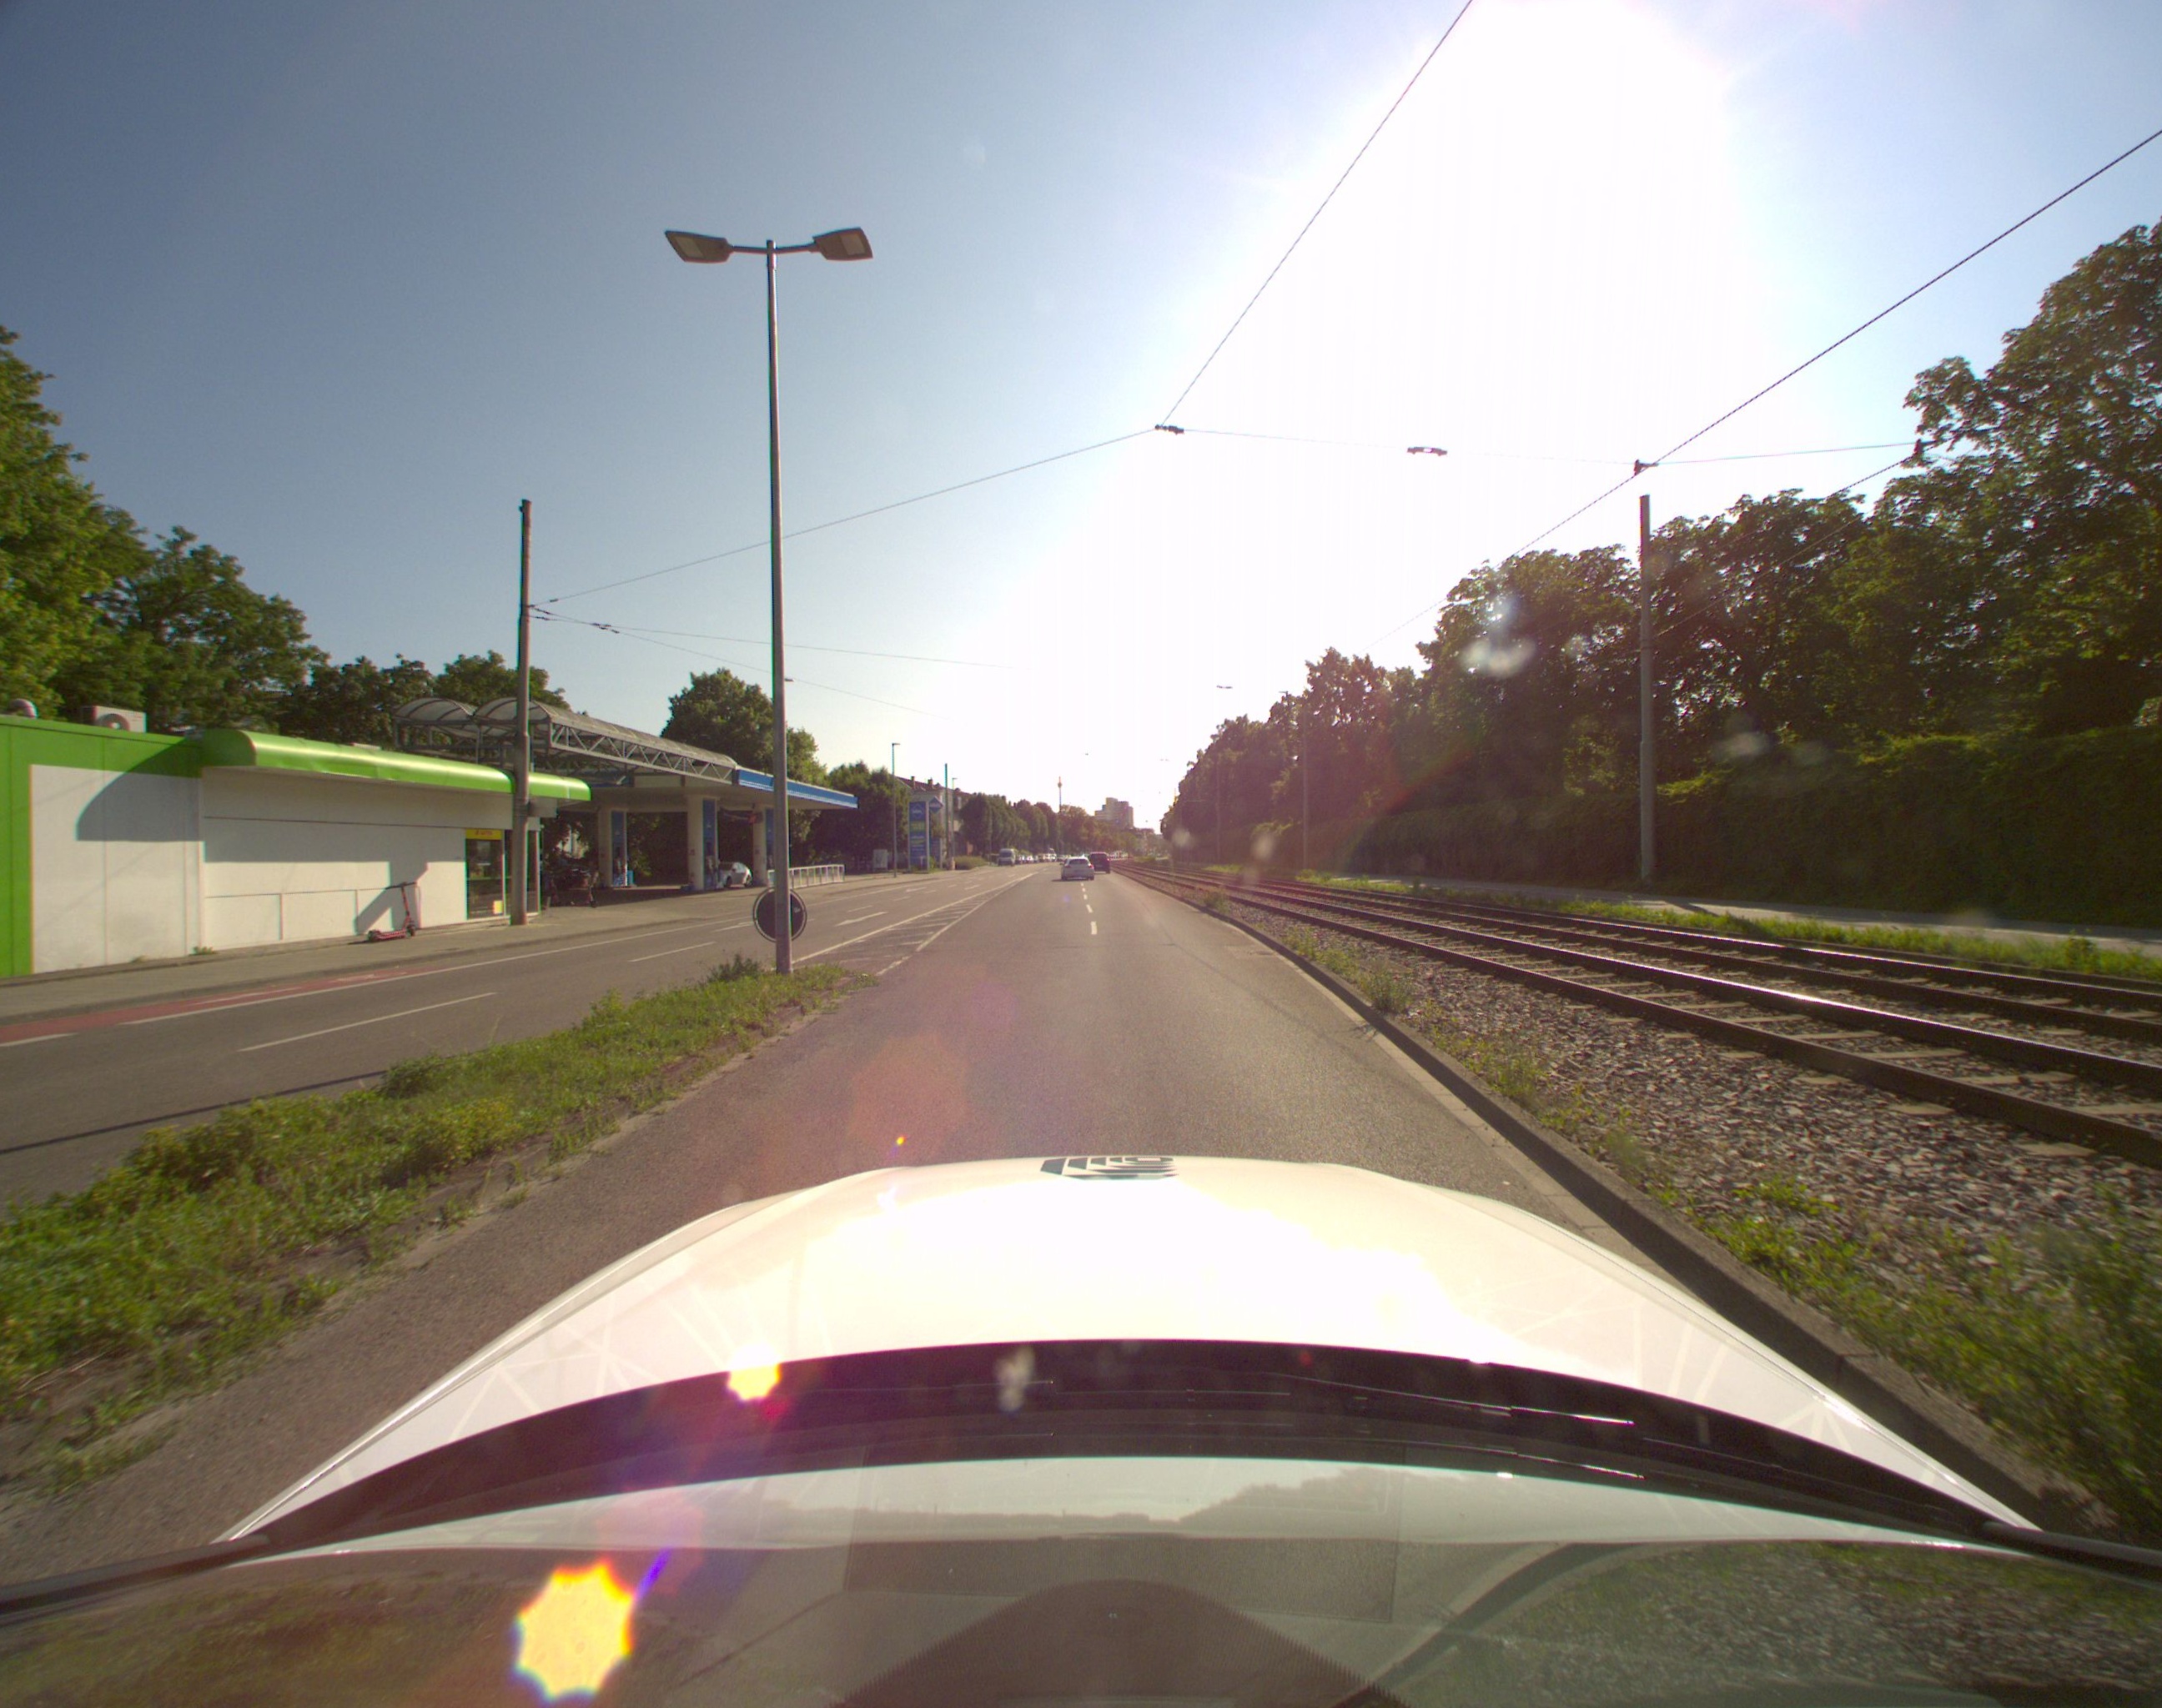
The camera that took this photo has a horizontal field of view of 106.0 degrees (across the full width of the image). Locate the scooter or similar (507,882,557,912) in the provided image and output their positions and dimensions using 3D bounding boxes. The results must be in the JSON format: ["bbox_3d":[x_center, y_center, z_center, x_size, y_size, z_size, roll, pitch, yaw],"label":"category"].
[{"bbox_3d":[-19.069,1.497,28.296,1.335,0.985,0.499,-1,0,-1],"label":"scooter or similar"}]

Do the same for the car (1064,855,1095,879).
[{"bbox_3d":[-0.111,0.745,48.425,1.775,1.356,3.600,1,0,-1],"label":"car"}]

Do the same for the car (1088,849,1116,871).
[{"bbox_3d":[1.579,0.462,62.575,1.721,1.593,3.595,1,0,-5],"label":"car"}]

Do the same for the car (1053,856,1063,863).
[{"bbox_3d":[-5.205,1.212,186.330,1.986,1.416,3.845,-1,0,2],"label":"car"}]

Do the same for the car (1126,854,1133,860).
[{"bbox_3d":[14.232,0.941,239.305,1.716,1.593,3.606,1,0,5],"label":"car"}]

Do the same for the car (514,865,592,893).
[{"bbox_3d":[-29.681,1.382,45.909,1.739,1.393,4.118,-1,0,-2],"label":"car"}]

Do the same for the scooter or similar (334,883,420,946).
[{"bbox_3d":[-14.568,1.235,16.896,0.530,1.174,1.311,4,0,3],"label":"scooter or similar"}]

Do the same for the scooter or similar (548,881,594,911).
[{"bbox_3d":[-17.723,1.468,28.324,1.255,0.987,0.499,-1,0,-1],"label":"scooter or similar"}]

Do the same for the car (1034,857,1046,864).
[{"bbox_3d":[-8.265,1.263,164.834,1.986,1.416,3.845,-1,0,2],"label":"car"}]

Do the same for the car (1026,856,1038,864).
[{"bbox_3d":[-9.167,1.195,153.165,1.986,1.416,3.845,-1,0,2],"label":"car"}]

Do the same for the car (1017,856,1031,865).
[{"bbox_3d":[-10.012,1.100,142.886,1.986,1.416,3.845,-1,0,2],"label":"car"}]

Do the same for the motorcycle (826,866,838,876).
[{"bbox_3d":[-24.183,1.679,79.170,0.669,0.901,1.671,-1,0,0],"label":"motorcycle"}]

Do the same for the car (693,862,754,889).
[{"bbox_3d":[-20.258,1.193,46.313,1.739,1.393,4.118,-1,0,-2],"label":"car"}]

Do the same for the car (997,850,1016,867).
[{"bbox_3d":[-10.548,0.622,114.995,1.985,2.376,4.542,-1,0,3],"label":"car"}]

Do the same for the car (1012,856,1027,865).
[{"bbox_3d":[-10.275,1.058,136.719,1.986,1.416,3.845,-1,0,2],"label":"car"}]

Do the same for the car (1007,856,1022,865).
[{"bbox_3d":[-10.645,1.017,130.355,1.986,1.416,3.845,-1,0,2],"label":"car"}]

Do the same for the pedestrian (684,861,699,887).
[{"bbox_3d":[-26.105,1.315,54.565,0.662,1.728,0.846,-1,0,-13],"label":"pedestrian"}]
